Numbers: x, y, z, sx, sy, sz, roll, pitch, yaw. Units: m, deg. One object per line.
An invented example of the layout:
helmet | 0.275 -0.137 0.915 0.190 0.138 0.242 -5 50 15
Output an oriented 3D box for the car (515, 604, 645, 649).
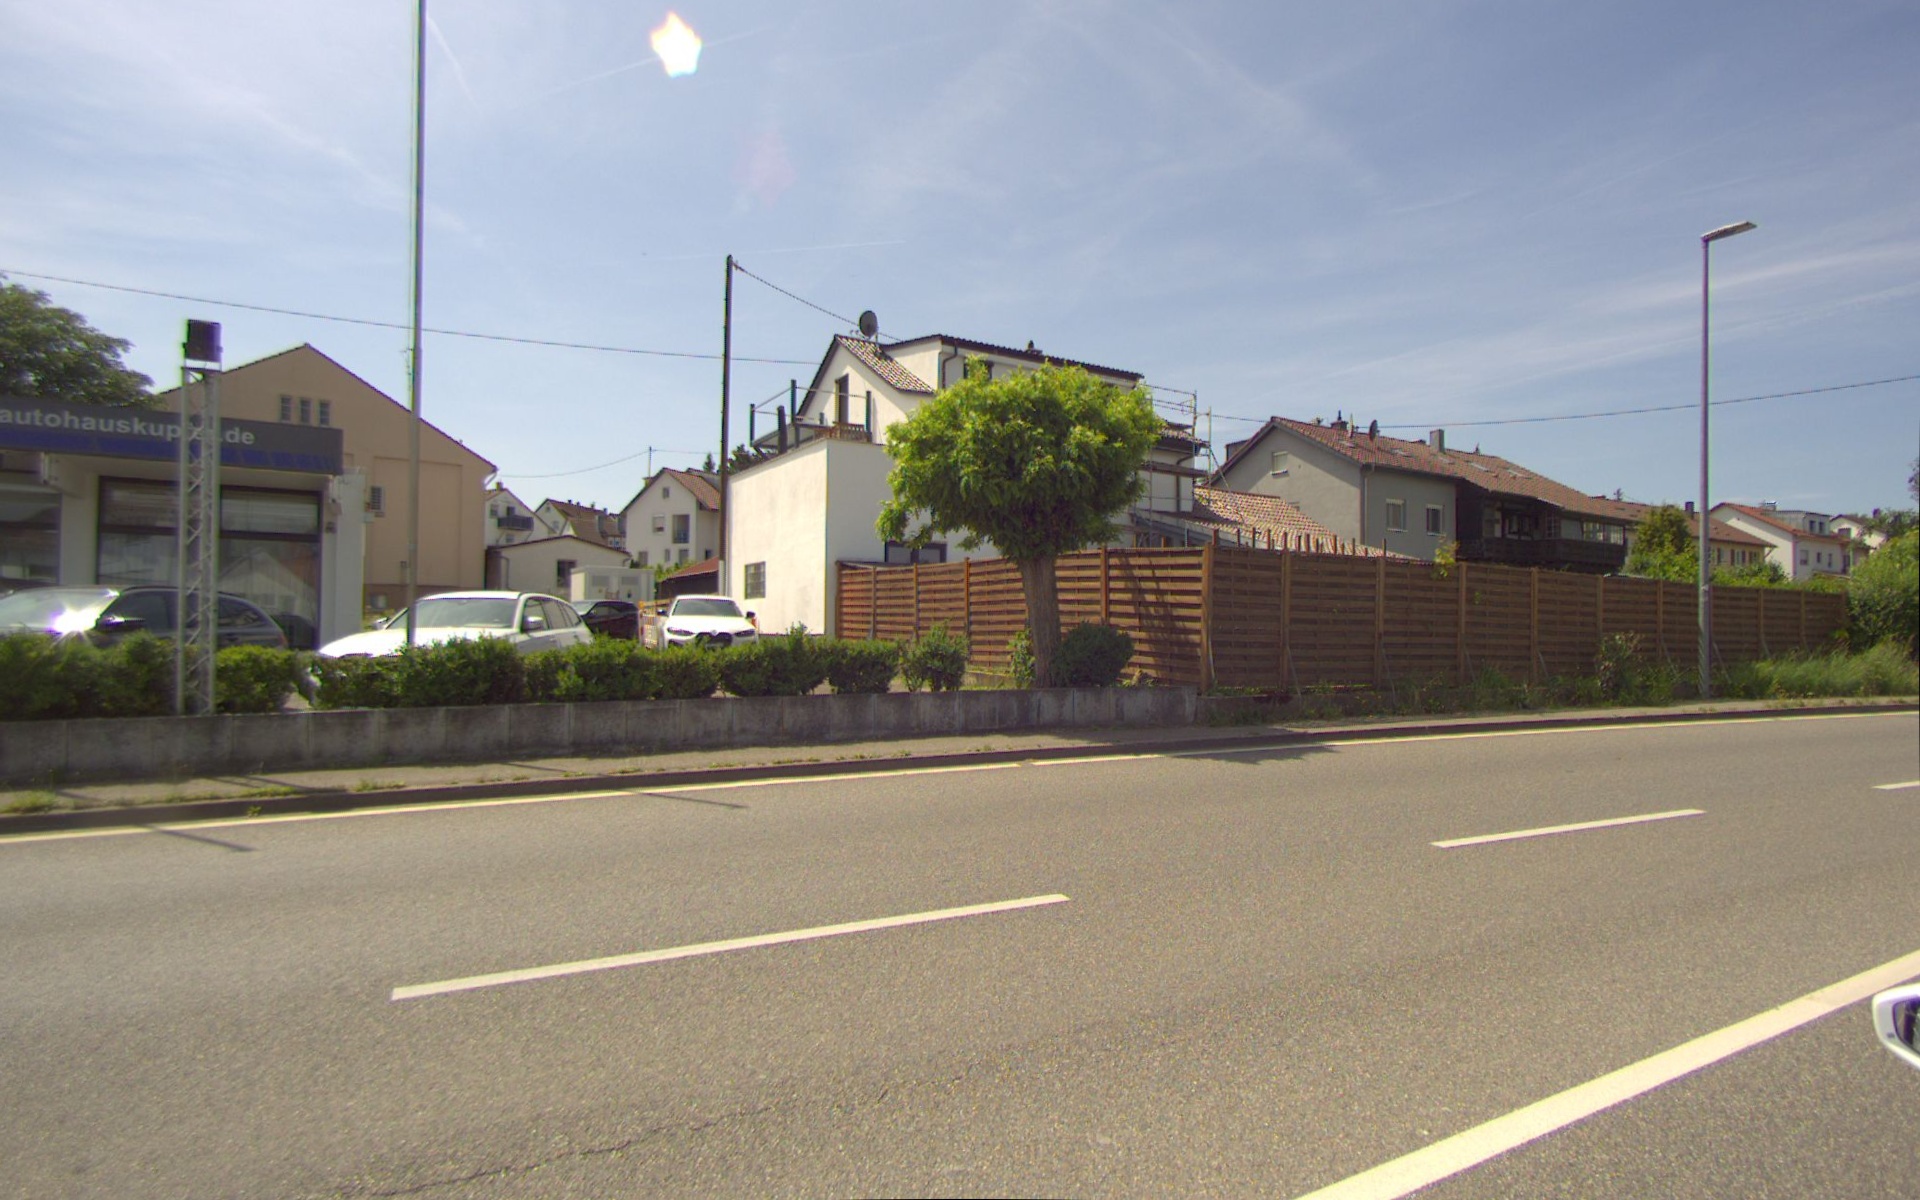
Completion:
car | -12.271 0.814 32.691 1.756 1.238 3.999 2 1 21

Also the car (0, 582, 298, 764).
car | -8.923 0.580 10.132 1.863 1.467 4.339 2 0 -5

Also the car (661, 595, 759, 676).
car | -5.326 0.672 21.080 1.805 1.530 3.985 1 0 -17

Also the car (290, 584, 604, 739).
car | -5.819 0.620 12.089 1.822 1.467 4.339 2 0 -5
